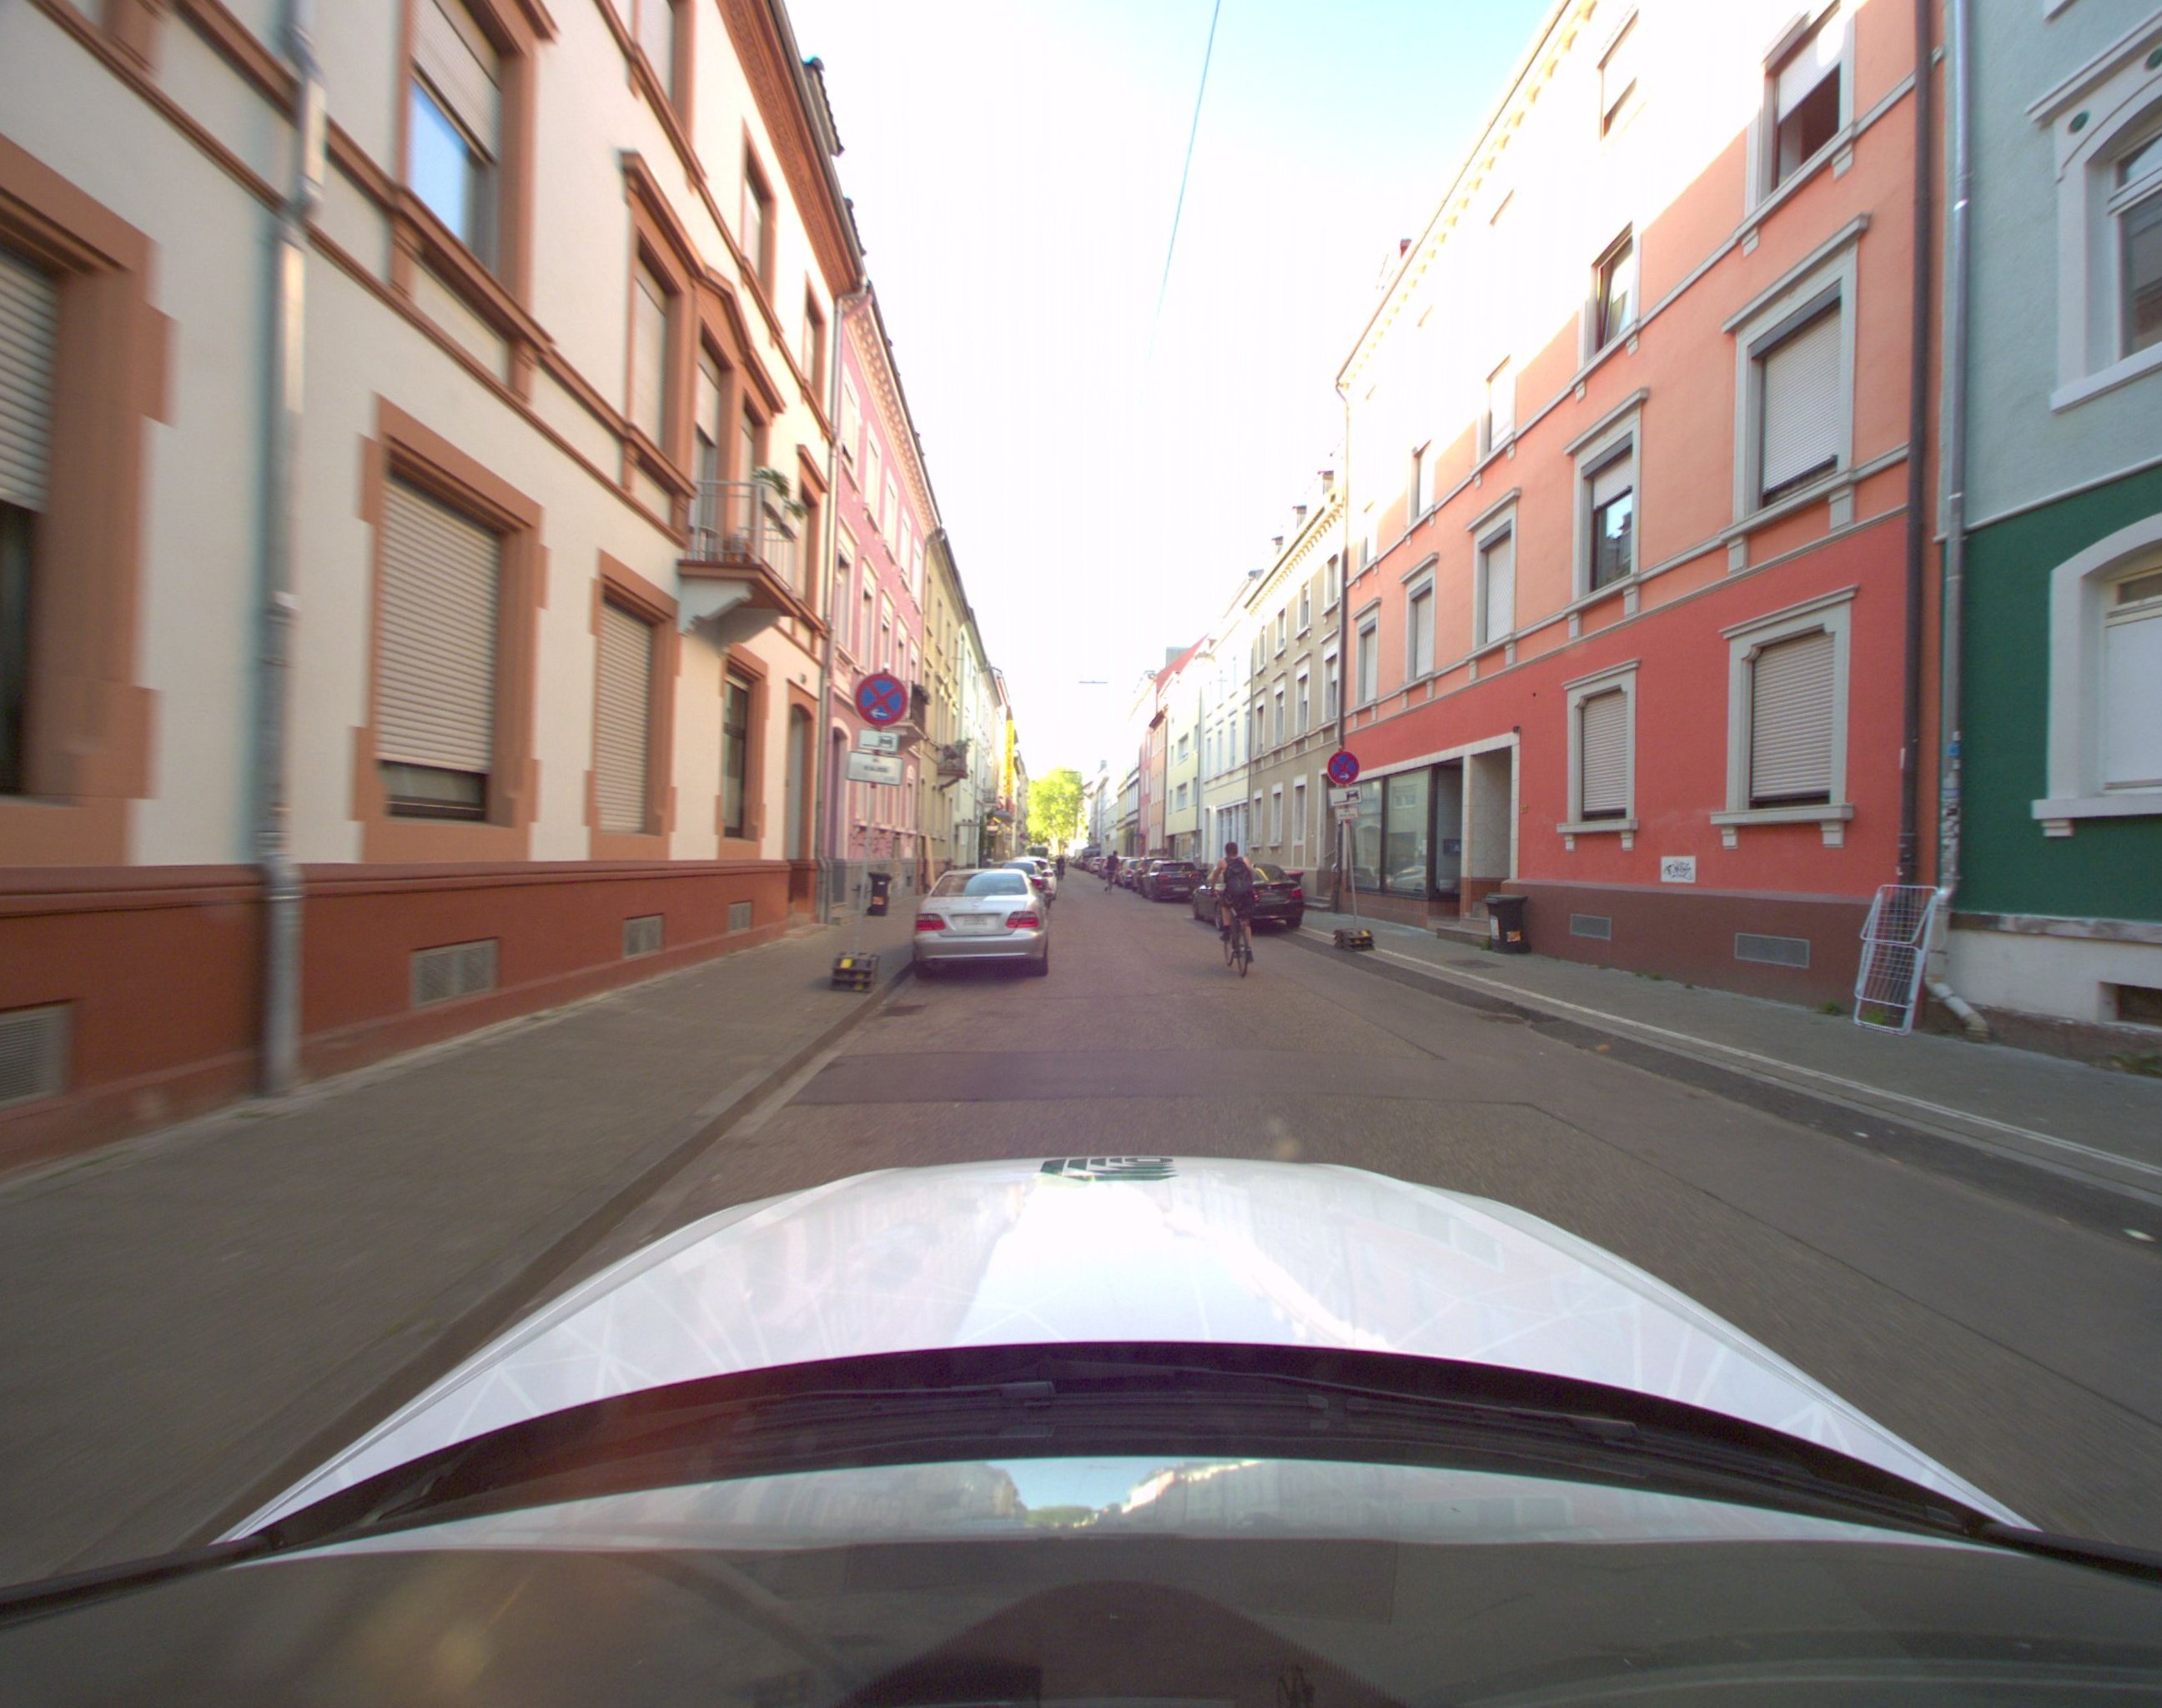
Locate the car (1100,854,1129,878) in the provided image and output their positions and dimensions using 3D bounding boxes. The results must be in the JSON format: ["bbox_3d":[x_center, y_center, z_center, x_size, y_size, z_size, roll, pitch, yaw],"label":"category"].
[{"bbox_3d":[2.251,0.800,55.600,1.617,1.550,3.996,-1,0,-3],"label":"car"}]

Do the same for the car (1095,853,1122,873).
[{"bbox_3d":[2.039,0.686,61.005,1.706,1.393,3.996,-1,0,-3],"label":"car"}]

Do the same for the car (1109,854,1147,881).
[{"bbox_3d":[2.622,0.747,45.942,1.706,1.383,3.996,-1,0,-3],"label":"car"}]

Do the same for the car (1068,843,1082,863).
[{"bbox_3d":[-1.226,-0.238,160.782,2.302,3.768,6.763,-1,0,-3],"label":"car"}]

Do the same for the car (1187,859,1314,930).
[{"bbox_3d":[3.859,0.857,19.373,1.812,1.438,4.786,-1,0,-3],"label":"car"}]

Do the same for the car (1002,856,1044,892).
[{"bbox_3d":[-2.419,0.819,34.793,1.668,1.442,3.764,-1,0,-3],"label":"car"}]

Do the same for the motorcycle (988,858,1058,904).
[{"bbox_3d":[-1.862,0.838,26.148,2.154,1.359,0.536,-2,1,-21],"label":"motorcycle"}]

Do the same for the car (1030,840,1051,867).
[{"bbox_3d":[-3.826,-0.060,76.390,1.906,2.497,4.159,0,0,-5],"label":"car"}]

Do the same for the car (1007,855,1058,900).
[{"bbox_3d":[-1.691,0.796,28.879,1.668,1.442,4.161,-1,0,-3],"label":"car"}]

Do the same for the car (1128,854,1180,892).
[{"bbox_3d":[3.140,0.787,35.714,1.706,1.556,3.996,-1,0,-3],"label":"car"}]

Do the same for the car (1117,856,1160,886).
[{"bbox_3d":[2.832,0.828,40.703,1.706,1.383,3.996,-1,0,-3],"label":"car"}]

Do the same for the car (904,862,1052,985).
[{"bbox_3d":[-1.300,0.838,11.790,1.706,1.383,4.501,-1,0,-3],"label":"car"}]

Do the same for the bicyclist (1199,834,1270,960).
[{"bbox_3d":[2.109,0.573,11.310,0.700,1.633,1.089,2,-1,-2],"label":"bicyclist"}]

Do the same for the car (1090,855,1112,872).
[{"bbox_3d":[1.731,0.816,72.314,1.706,1.447,3.996,-1,0,-3],"label":"car"}]

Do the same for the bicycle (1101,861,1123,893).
[{"bbox_3d":[1.266,0.932,33.500,0.700,1.208,2.340,1,1,-3],"label":"bicycle"}]

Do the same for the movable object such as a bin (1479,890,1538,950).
[{"bbox_3d":[6.809,1.046,12.997,0.596,0.906,0.578,-2,-1,-4],"label":"movable object such as a bin"}]

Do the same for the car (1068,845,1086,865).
[{"bbox_3d":[-0.575,0.152,113.410,2.302,2.538,6.763,-1,0,-3],"label":"car"}]

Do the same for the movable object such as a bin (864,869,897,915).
[{"bbox_3d":[-4.282,0.796,17.408,0.542,0.945,0.487,2,-1,-2],"label":"movable object such as a bin"}]

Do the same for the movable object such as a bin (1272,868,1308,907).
[{"bbox_3d":[5.920,0.943,23.097,0.736,1.075,0.675,-2,0,-9],"label":"movable object such as a bin"}]

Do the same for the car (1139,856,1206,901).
[{"bbox_3d":[3.285,0.862,29.965,1.812,1.521,3.996,-1,0,-3],"label":"car"}]

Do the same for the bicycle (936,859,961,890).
[{"bbox_3d":[-4.900,0.741,30.183,0.591,1.089,2.077,2,-1,-2],"label":"bicycle"}]

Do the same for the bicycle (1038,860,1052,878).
[{"bbox_3d":[-2.303,0.922,51.195,0.698,1.105,2.269,2,-1,-6],"label":"bicycle"}]

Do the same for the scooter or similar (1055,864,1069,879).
[{"bbox_3d":[-1.194,1.092,50.587,0.770,0.873,0.769,2,-1,-7],"label":"scooter or similar"}]

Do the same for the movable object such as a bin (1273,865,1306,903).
[{"bbox_3d":[6.197,0.891,24.205,0.804,1.075,0.678,-2,0,2],"label":"movable object such as a bin"}]

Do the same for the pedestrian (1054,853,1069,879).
[{"bbox_3d":[-1.222,0.749,50.949,0.770,1.578,0.898,2,-1,-7],"label":"pedestrian"}]

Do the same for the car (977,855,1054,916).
[{"bbox_3d":[-1.673,0.768,22.068,1.705,1.383,4.355,1,1,0],"label":"car"}]

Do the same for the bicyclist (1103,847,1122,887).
[{"bbox_3d":[1.278,0.536,33.425,0.700,1.605,0.812,1,1,-3],"label":"bicyclist"}]

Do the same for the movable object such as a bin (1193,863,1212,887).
[{"bbox_3d":[5.743,0.998,38.479,0.804,1.075,0.678,-2,0,2],"label":"movable object such as a bin"}]

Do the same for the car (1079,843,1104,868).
[{"bbox_3d":[1.070,0.190,88.037,2.302,2.538,6.763,-1,0,-3],"label":"car"}]

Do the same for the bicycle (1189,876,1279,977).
[{"bbox_3d":[2.090,0.949,11.472,0.700,1.208,2.340,2,-1,-2],"label":"bicycle"}]
